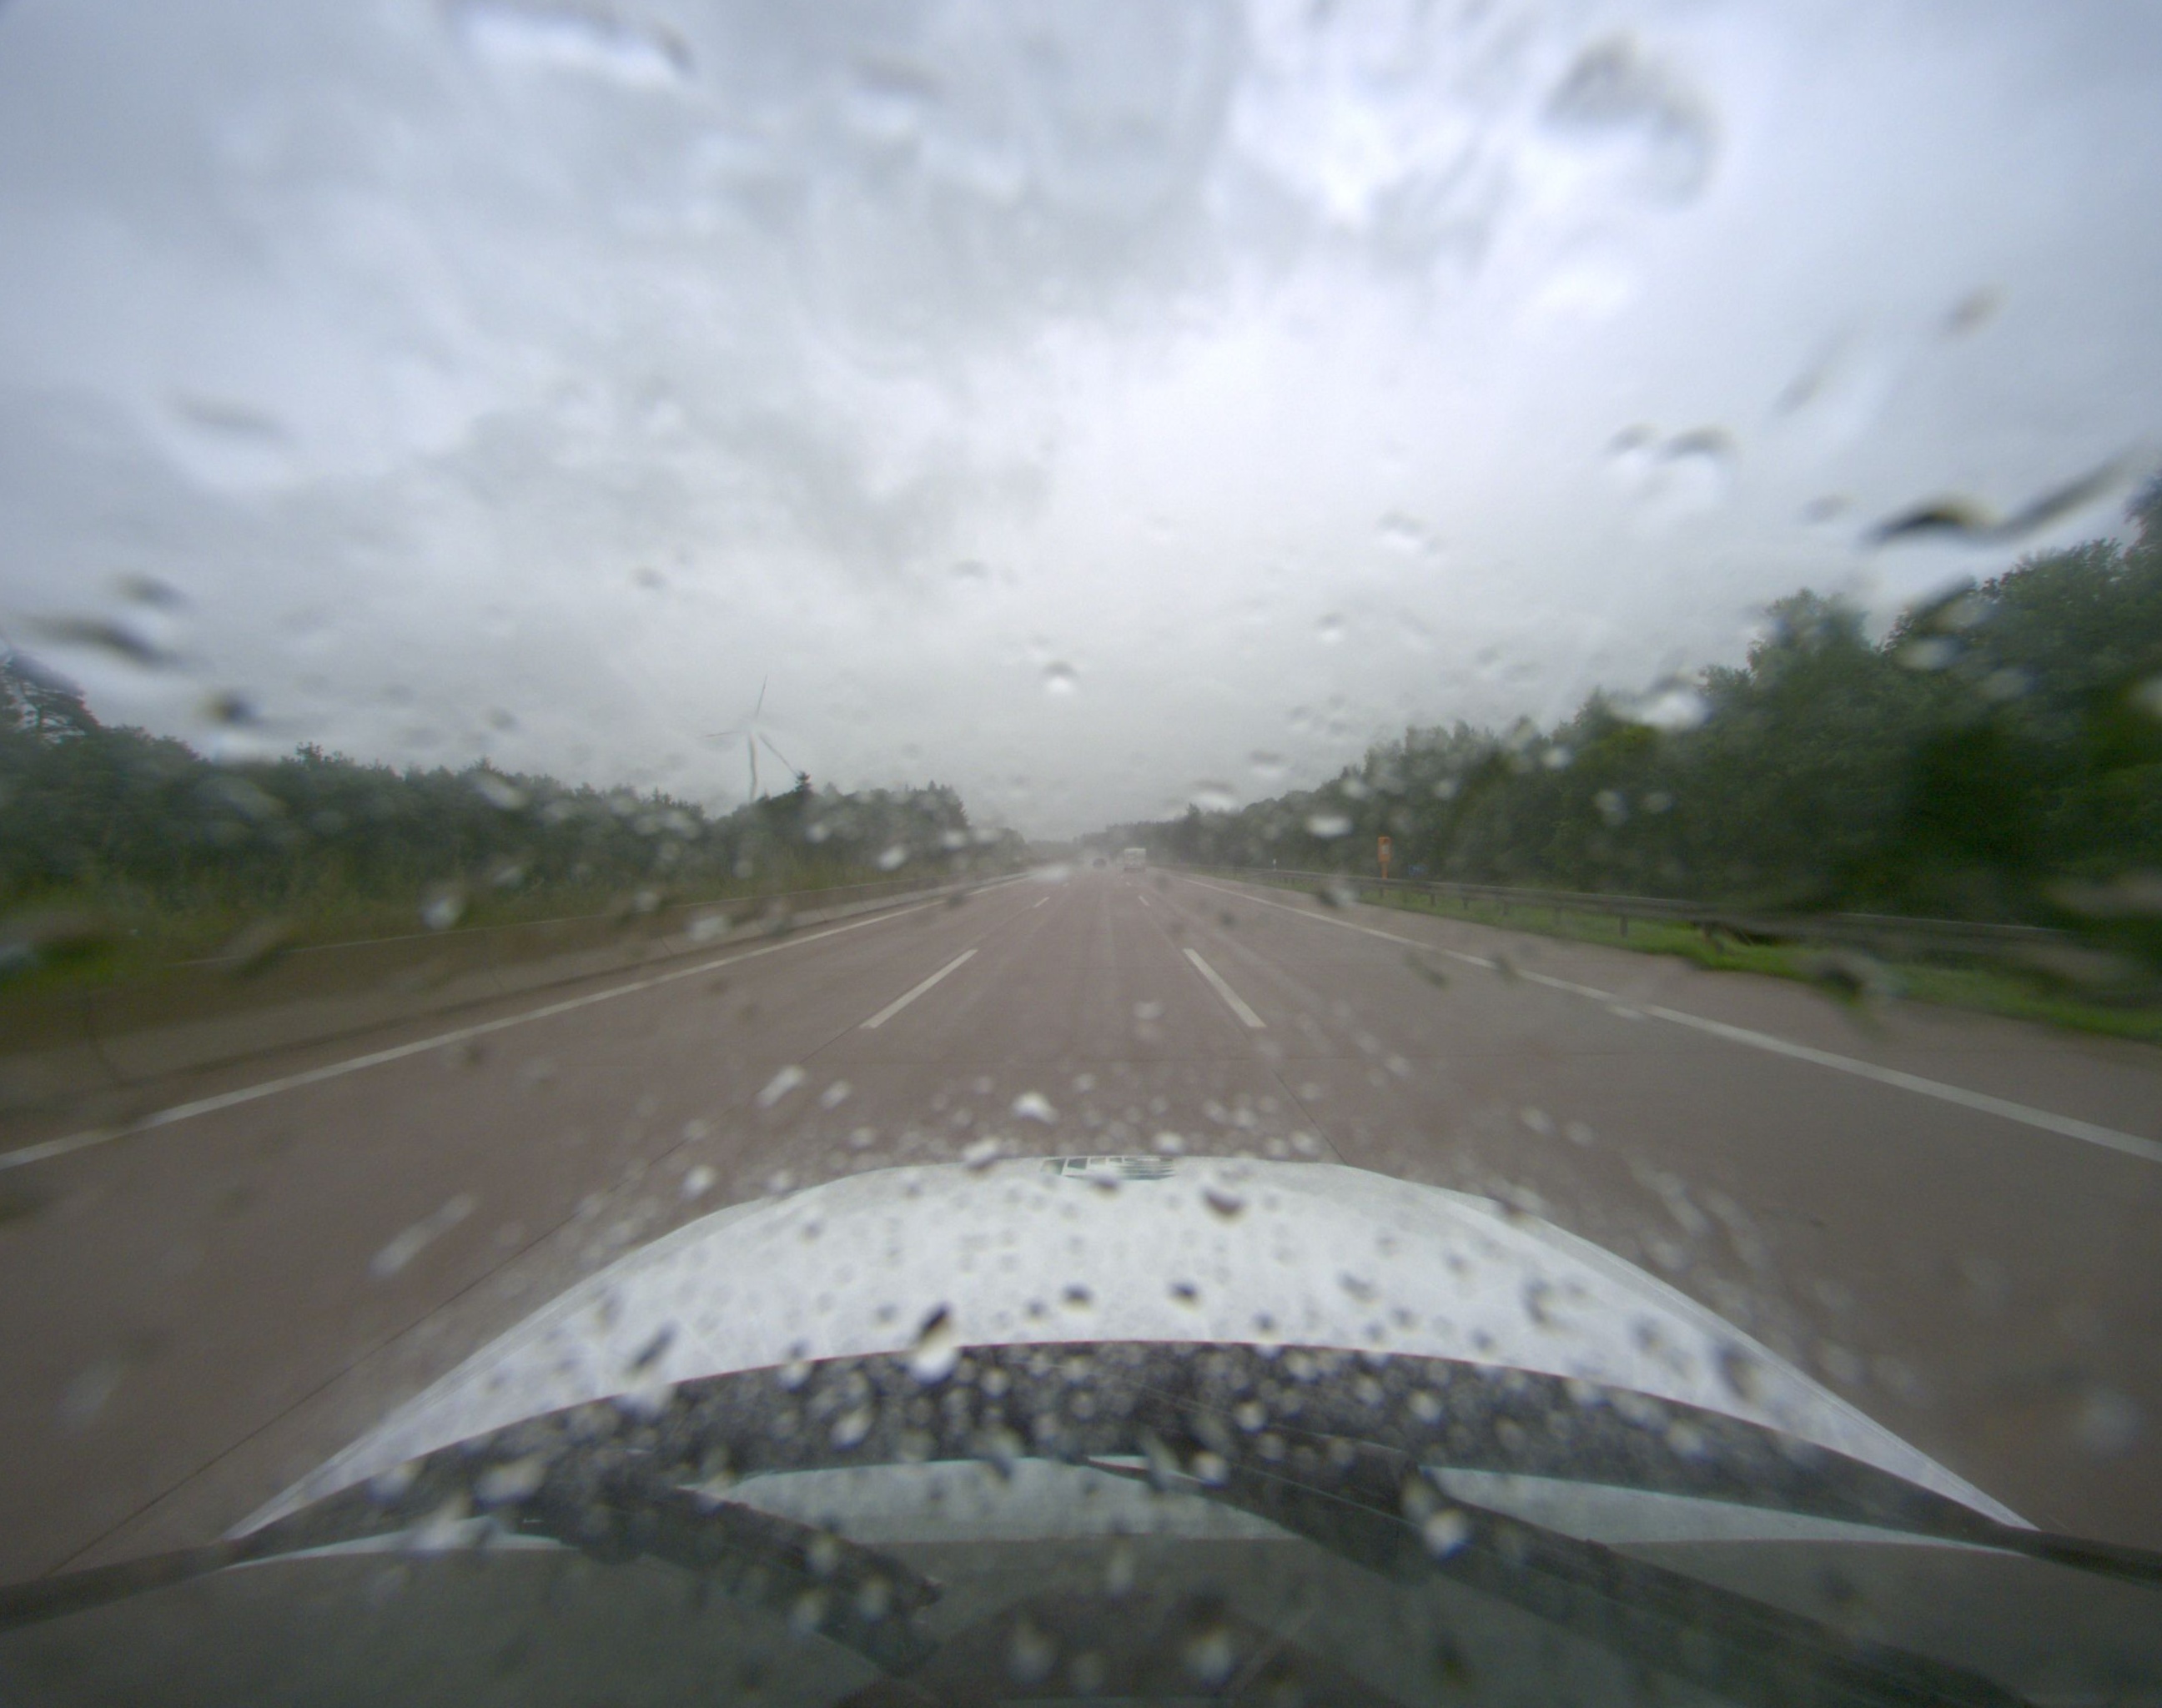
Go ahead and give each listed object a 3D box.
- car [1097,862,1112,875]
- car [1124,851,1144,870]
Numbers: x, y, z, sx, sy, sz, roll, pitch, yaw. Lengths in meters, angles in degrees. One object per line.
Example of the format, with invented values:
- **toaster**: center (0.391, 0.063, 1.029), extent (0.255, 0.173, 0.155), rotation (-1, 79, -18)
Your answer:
- **car**: center (3.317, 2.049, 114.104), extent (1.929, 1.729, 4.133), rotation (-1, 0, 3)
- **car**: center (5.614, 0.687, 87.337), extent (2.050, 2.000, 4.101), rotation (-1, 0, 3)
